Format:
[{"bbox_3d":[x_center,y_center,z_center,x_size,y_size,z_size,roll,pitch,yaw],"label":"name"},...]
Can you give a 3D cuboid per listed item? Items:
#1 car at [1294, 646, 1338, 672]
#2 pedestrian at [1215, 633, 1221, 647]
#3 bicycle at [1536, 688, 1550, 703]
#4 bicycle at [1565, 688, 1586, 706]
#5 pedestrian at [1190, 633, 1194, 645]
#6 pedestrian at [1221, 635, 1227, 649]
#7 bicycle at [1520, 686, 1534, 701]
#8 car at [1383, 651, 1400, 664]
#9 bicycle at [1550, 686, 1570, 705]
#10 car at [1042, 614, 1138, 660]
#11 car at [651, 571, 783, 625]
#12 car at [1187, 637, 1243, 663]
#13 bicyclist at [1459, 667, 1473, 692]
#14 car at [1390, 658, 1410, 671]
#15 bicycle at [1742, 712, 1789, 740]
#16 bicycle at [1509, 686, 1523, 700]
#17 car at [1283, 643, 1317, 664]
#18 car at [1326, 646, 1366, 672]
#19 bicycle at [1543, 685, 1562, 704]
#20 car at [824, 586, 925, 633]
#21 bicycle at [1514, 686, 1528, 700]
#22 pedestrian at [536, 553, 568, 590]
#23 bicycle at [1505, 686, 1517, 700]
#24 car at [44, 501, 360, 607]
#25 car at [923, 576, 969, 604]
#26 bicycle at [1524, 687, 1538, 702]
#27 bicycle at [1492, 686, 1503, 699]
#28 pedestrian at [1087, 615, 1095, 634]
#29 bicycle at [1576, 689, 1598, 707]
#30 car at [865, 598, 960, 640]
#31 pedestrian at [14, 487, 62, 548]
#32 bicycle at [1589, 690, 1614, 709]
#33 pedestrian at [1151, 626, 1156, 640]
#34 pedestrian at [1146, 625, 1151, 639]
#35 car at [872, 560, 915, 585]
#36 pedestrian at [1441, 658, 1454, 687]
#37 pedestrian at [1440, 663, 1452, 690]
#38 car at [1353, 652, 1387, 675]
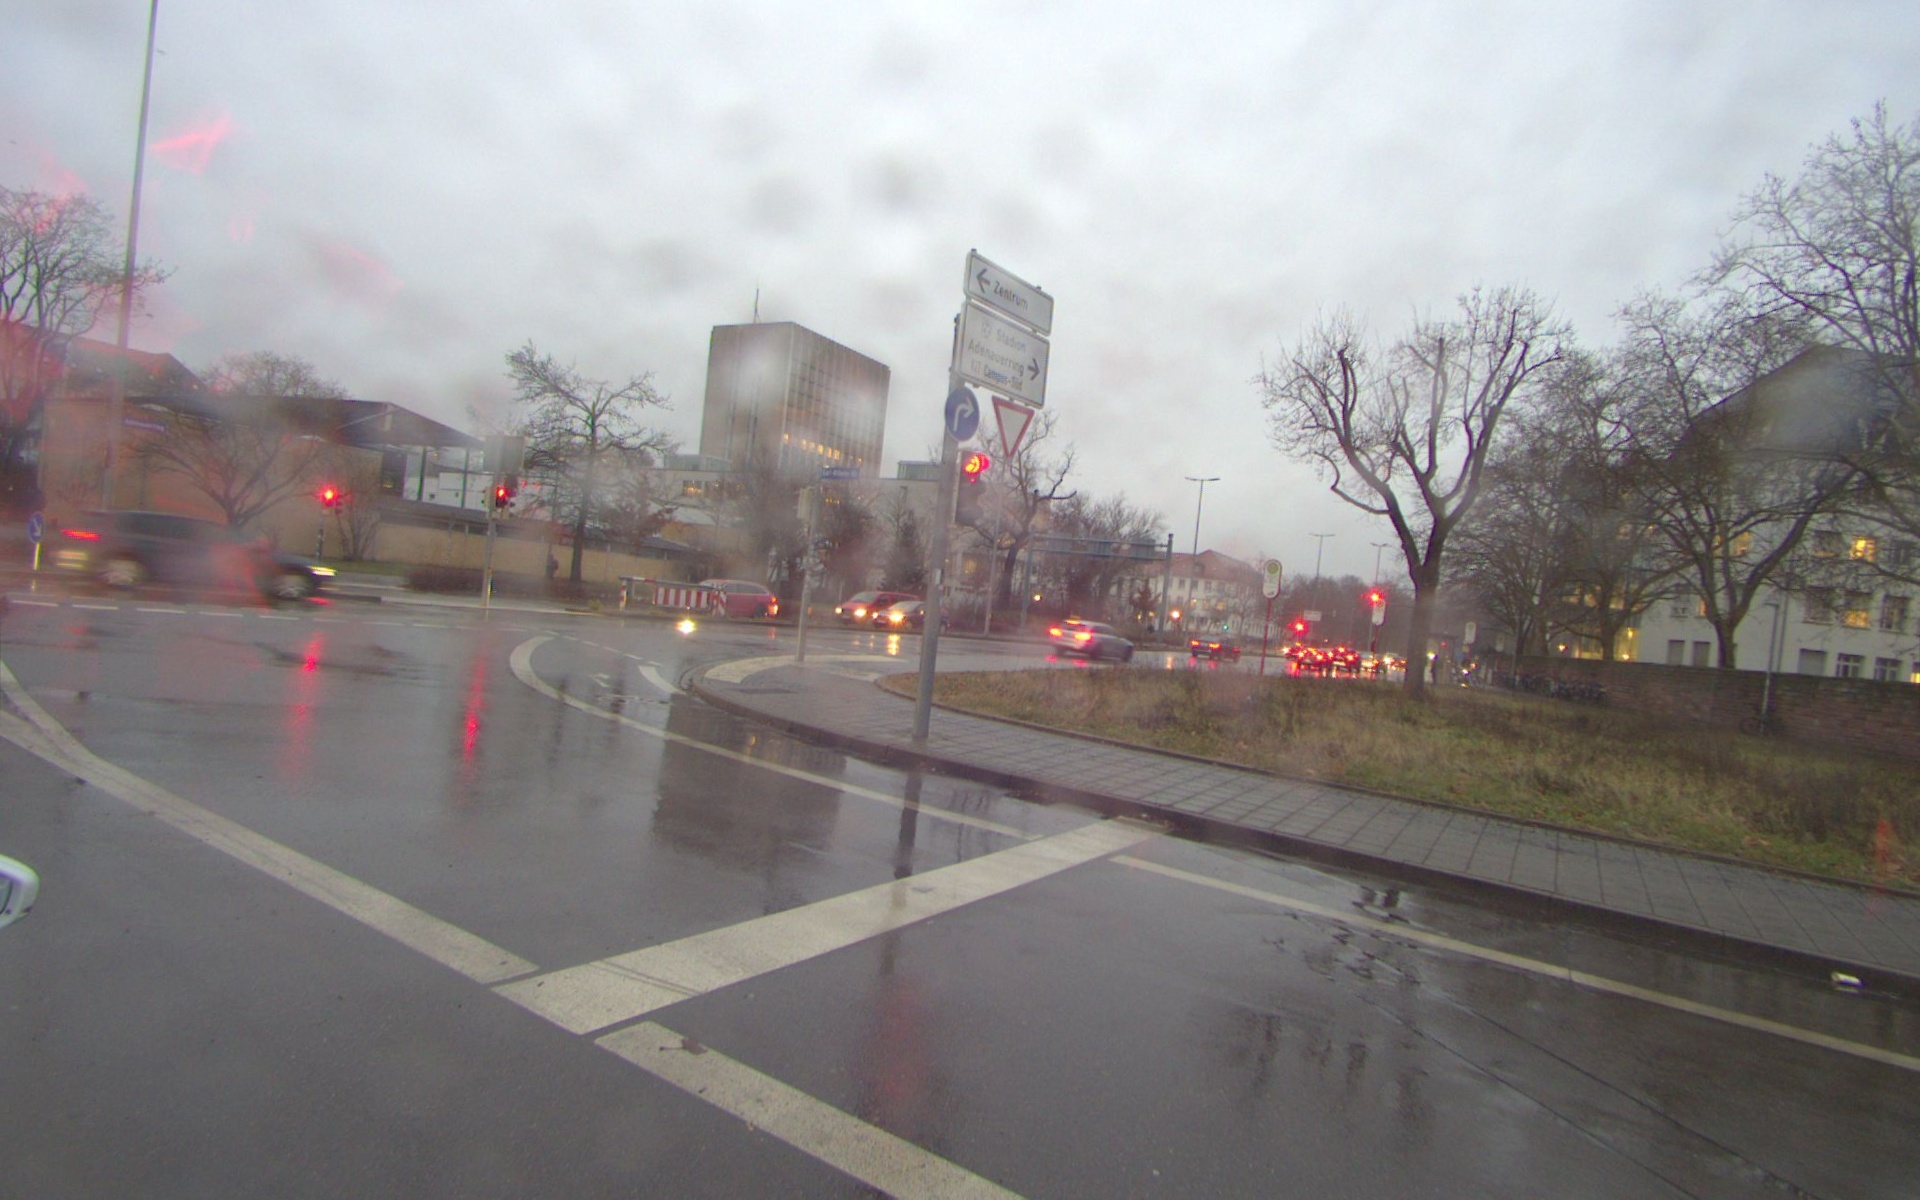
[{"bbox_3d":[25.315,4.217,71.524,1.812,1.602,4.124,6,0,35],"label":"car"},{"bbox_3d":[30.853,4.764,120.145,0.404,1.713,0.427,7,2,28],"label":"pedestrian"},{"bbox_3d":[32.414,5.294,55.955,0.387,0.795,1.607,7,-2,22],"label":"bicycle"},{"bbox_3d":[31.039,4.880,50.746,0.343,0.848,1.493,7,-2,13],"label":"bicycle"},{"bbox_3d":[27.780,4.697,120.383,0.258,1.364,0.289,8,2,31],"label":"pedestrian"},{"bbox_3d":[32.973,5.260,125.669,0.404,1.713,0.561,7,2,28],"label":"pedestrian"},{"bbox_3d":[33.324,5.492,59.147,0.387,0.795,1.532,7,-2,20],"label":"bicycle"},{"bbox_3d":[66.844,8.926,155.668,1.965,1.783,3.993,7,1,27],"label":"car"},{"bbox_3d":[31.357,4.984,52.558,0.387,0.868,1.532,7,-2,15],"label":"bicycle"},{"bbox_3d":[5.435,1.567,41.586,1.908,1.571,4.684,6,0,35],"label":"car"},{"bbox_3d":[-8.679,-0.038,36.256,1.784,1.496,4.411,6,0,37],"label":"car"},{"bbox_3d":[15.887,3.155,62.612,1.907,1.318,4.687,6,0,33],"label":"car"},{"bbox_3d":[34.456,5.410,68.475,0.599,1.660,0.453,7,-1,19],"label":"bicyclist"},{"bbox_3d":[53.868,7.880,123.046,1.620,1.346,3.671,7,1,31],"label":"car"},{"bbox_3d":[28.203,4.402,35.228,0.387,0.834,1.386,7,-2,-4],"label":"bicycle"},{"bbox_3d":[34.351,5.746,62.154,0.387,0.795,1.532,7,-2,20],"label":"bicycle"},{"bbox_3d":[30.134,4.736,89.002,1.811,1.602,4.127,6,0,32],"label":"car"},{"bbox_3d":[29.720,4.567,77.413,1.812,1.710,4.311,6,-1,34],"label":"car"},{"bbox_3d":[31.843,5.078,54.089,0.387,0.927,1.532,7,-2,15],"label":"bicycle"},{"bbox_3d":[-4.236,0.502,50.851,2.016,1.903,5.320,6,0,35],"label":"car"},{"bbox_3d":[33.830,5.619,60.665,0.387,0.795,1.532,7,-2,20],"label":"bicycle"},{"bbox_3d":[-19.148,-1.344,47.227,0.782,1.624,0.961,8,2,35],"label":"pedestrian"},{"bbox_3d":[34.852,5.871,63.628,0.387,0.795,1.532,7,-2,20],"label":"bicycle"},{"bbox_3d":[-14.502,-0.831,19.474,1.786,1.496,4.568,6,0,42],"label":"car"},{"bbox_3d":[-1.400,-0.994,103.045,2.014,2.452,5.326,6,0,30],"label":"car"},{"bbox_3d":[32.842,5.409,57.868,0.387,0.795,1.532,7,-2,19],"label":"bicycle"},{"bbox_3d":[36.392,6.252,68.109,0.387,0.795,1.532,7,-2,20],"label":"bicycle"},{"bbox_3d":[12.117,2.281,93.085,0.411,1.725,0.430,8,3,44],"label":"pedestrian"},{"bbox_3d":[30.550,4.772,49.002,0.387,0.795,1.533,7,-2,14],"label":"bicycle"},{"bbox_3d":[-2.065,0.874,45.252,1.784,1.496,4.411,6,0,37],"label":"car"},{"bbox_3d":[-35.165,-3.139,38.389,0.879,2.141,0.885,7,2,10],"label":"pedestrian"},{"bbox_3d":[30.276,4.676,47.478,0.352,0.795,1.415,7,-2,8],"label":"bicycle"},{"bbox_3d":[19.725,3.359,102.667,0.258,1.364,0.289,8,2,31],"label":"pedestrian"},{"bbox_3d":[19.233,3.299,102.795,0.258,1.364,0.289,8,2,31],"label":"pedestrian"},{"bbox_3d":[-7.043,-2.907,106.557,2.014,2.102,4.892,6,0,30],"label":"car"},{"bbox_3d":[35.280,5.246,72.795,0.557,2.040,0.595,8,2,33],"label":"pedestrian"},{"bbox_3d":[30.153,4.737,62.420,0.462,1.623,0.486,7,-1,25],"label":"pedestrian"},{"bbox_3d":[34.241,5.290,83.972,1.811,1.710,4.311,6,0,32],"label":"car"}]
